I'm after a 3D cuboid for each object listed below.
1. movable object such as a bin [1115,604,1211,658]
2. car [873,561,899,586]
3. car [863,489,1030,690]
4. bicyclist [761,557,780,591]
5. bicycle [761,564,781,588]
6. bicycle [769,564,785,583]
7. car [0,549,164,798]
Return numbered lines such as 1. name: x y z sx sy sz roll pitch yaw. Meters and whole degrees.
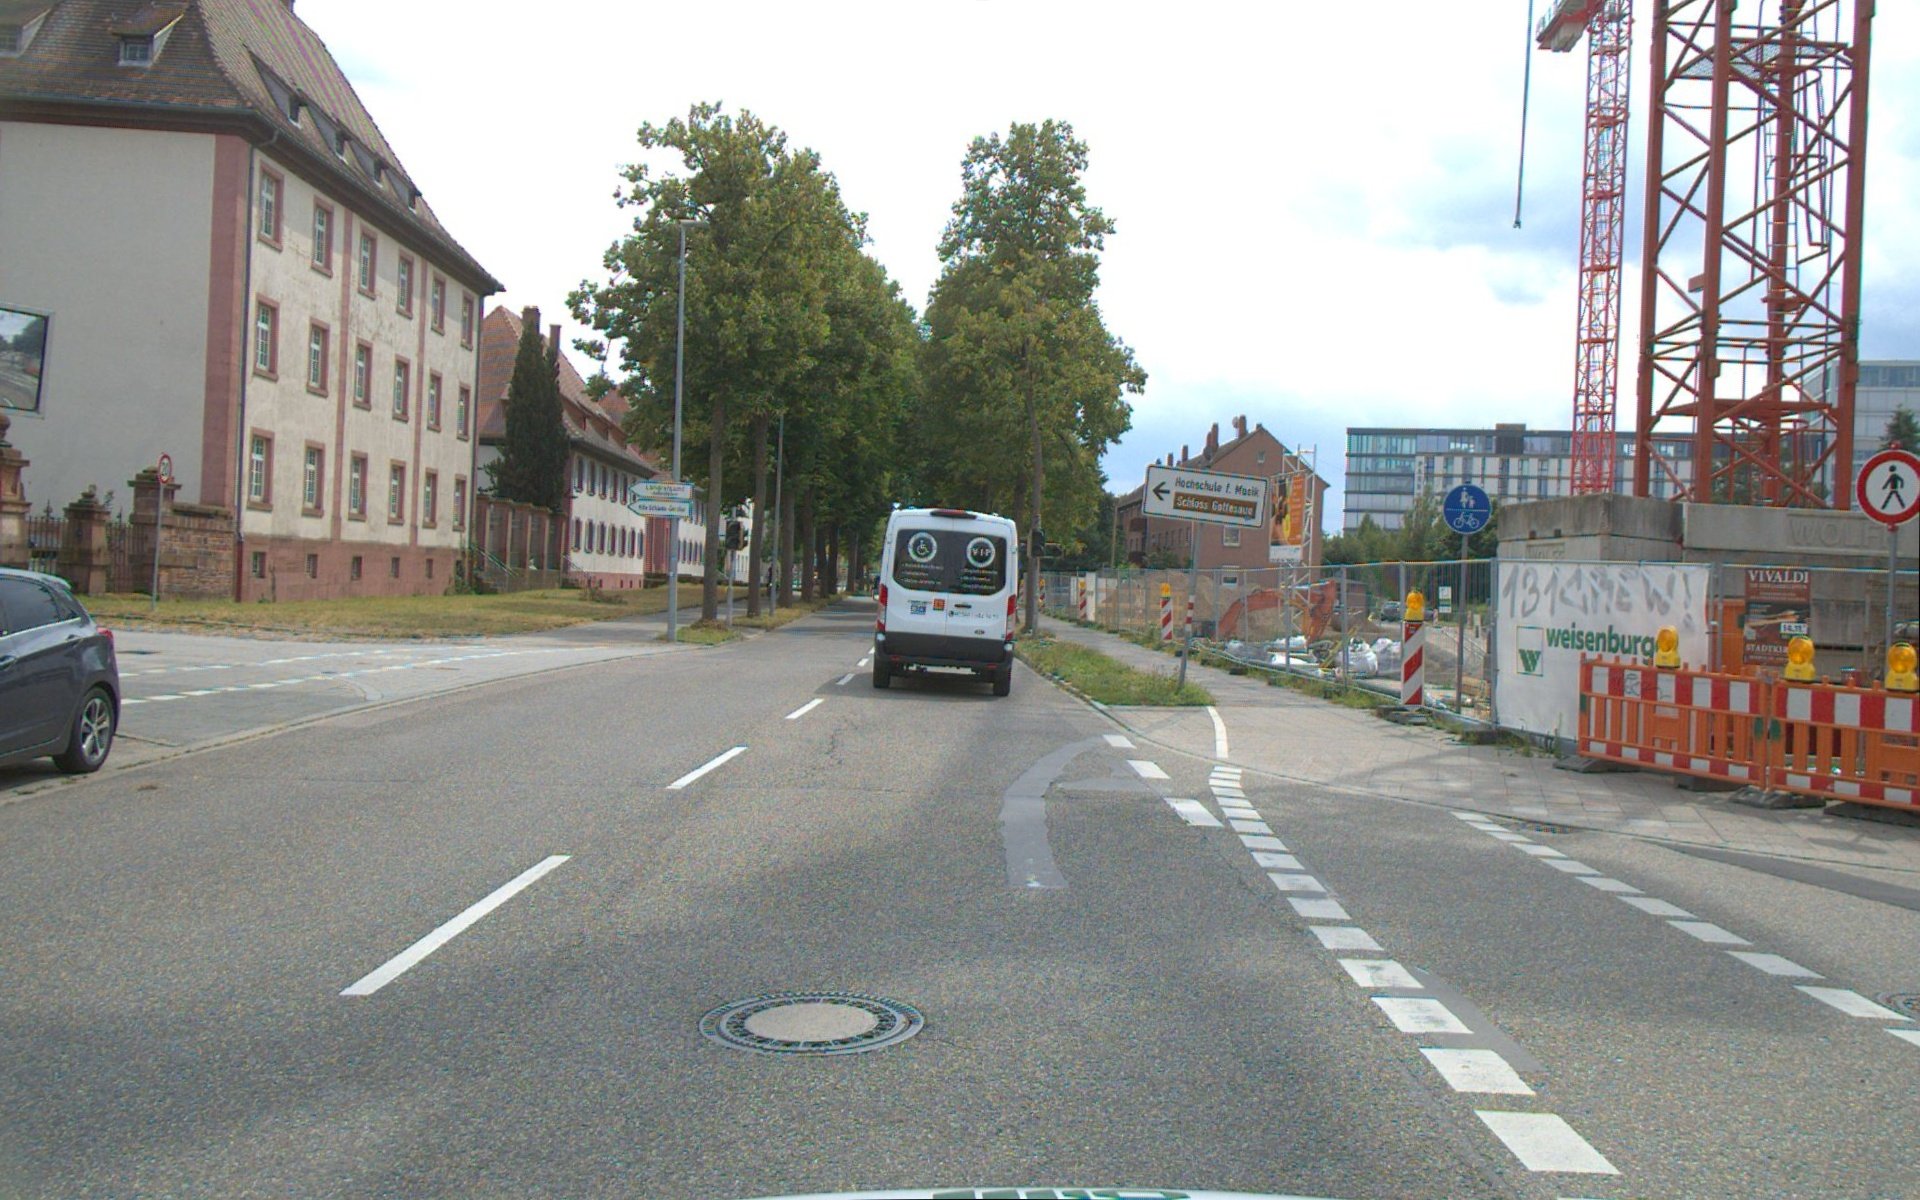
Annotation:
1. movable object such as a bin: 10.544 1.552 85.690 4.583 2.635 3.135 1 0 13
2. car: -5.437 -1.931 122.006 1.735 1.688 4.256 0 -2 0
3. car: -0.298 -0.167 24.491 2.023 2.583 3.997 4 0 -5
4. bicyclist: -9.568 -1.317 83.650 0.708 1.684 0.958 6 0 -2
5. bicycle: -9.568 -1.236 83.638 0.708 1.113 2.151 6 1 -2
6. bicycle: -11.466 -1.686 103.915 0.708 1.113 2.225 6 1 -2
7. car: -6.882 0.428 10.399 1.787 1.498 4.295 5 1 -4
